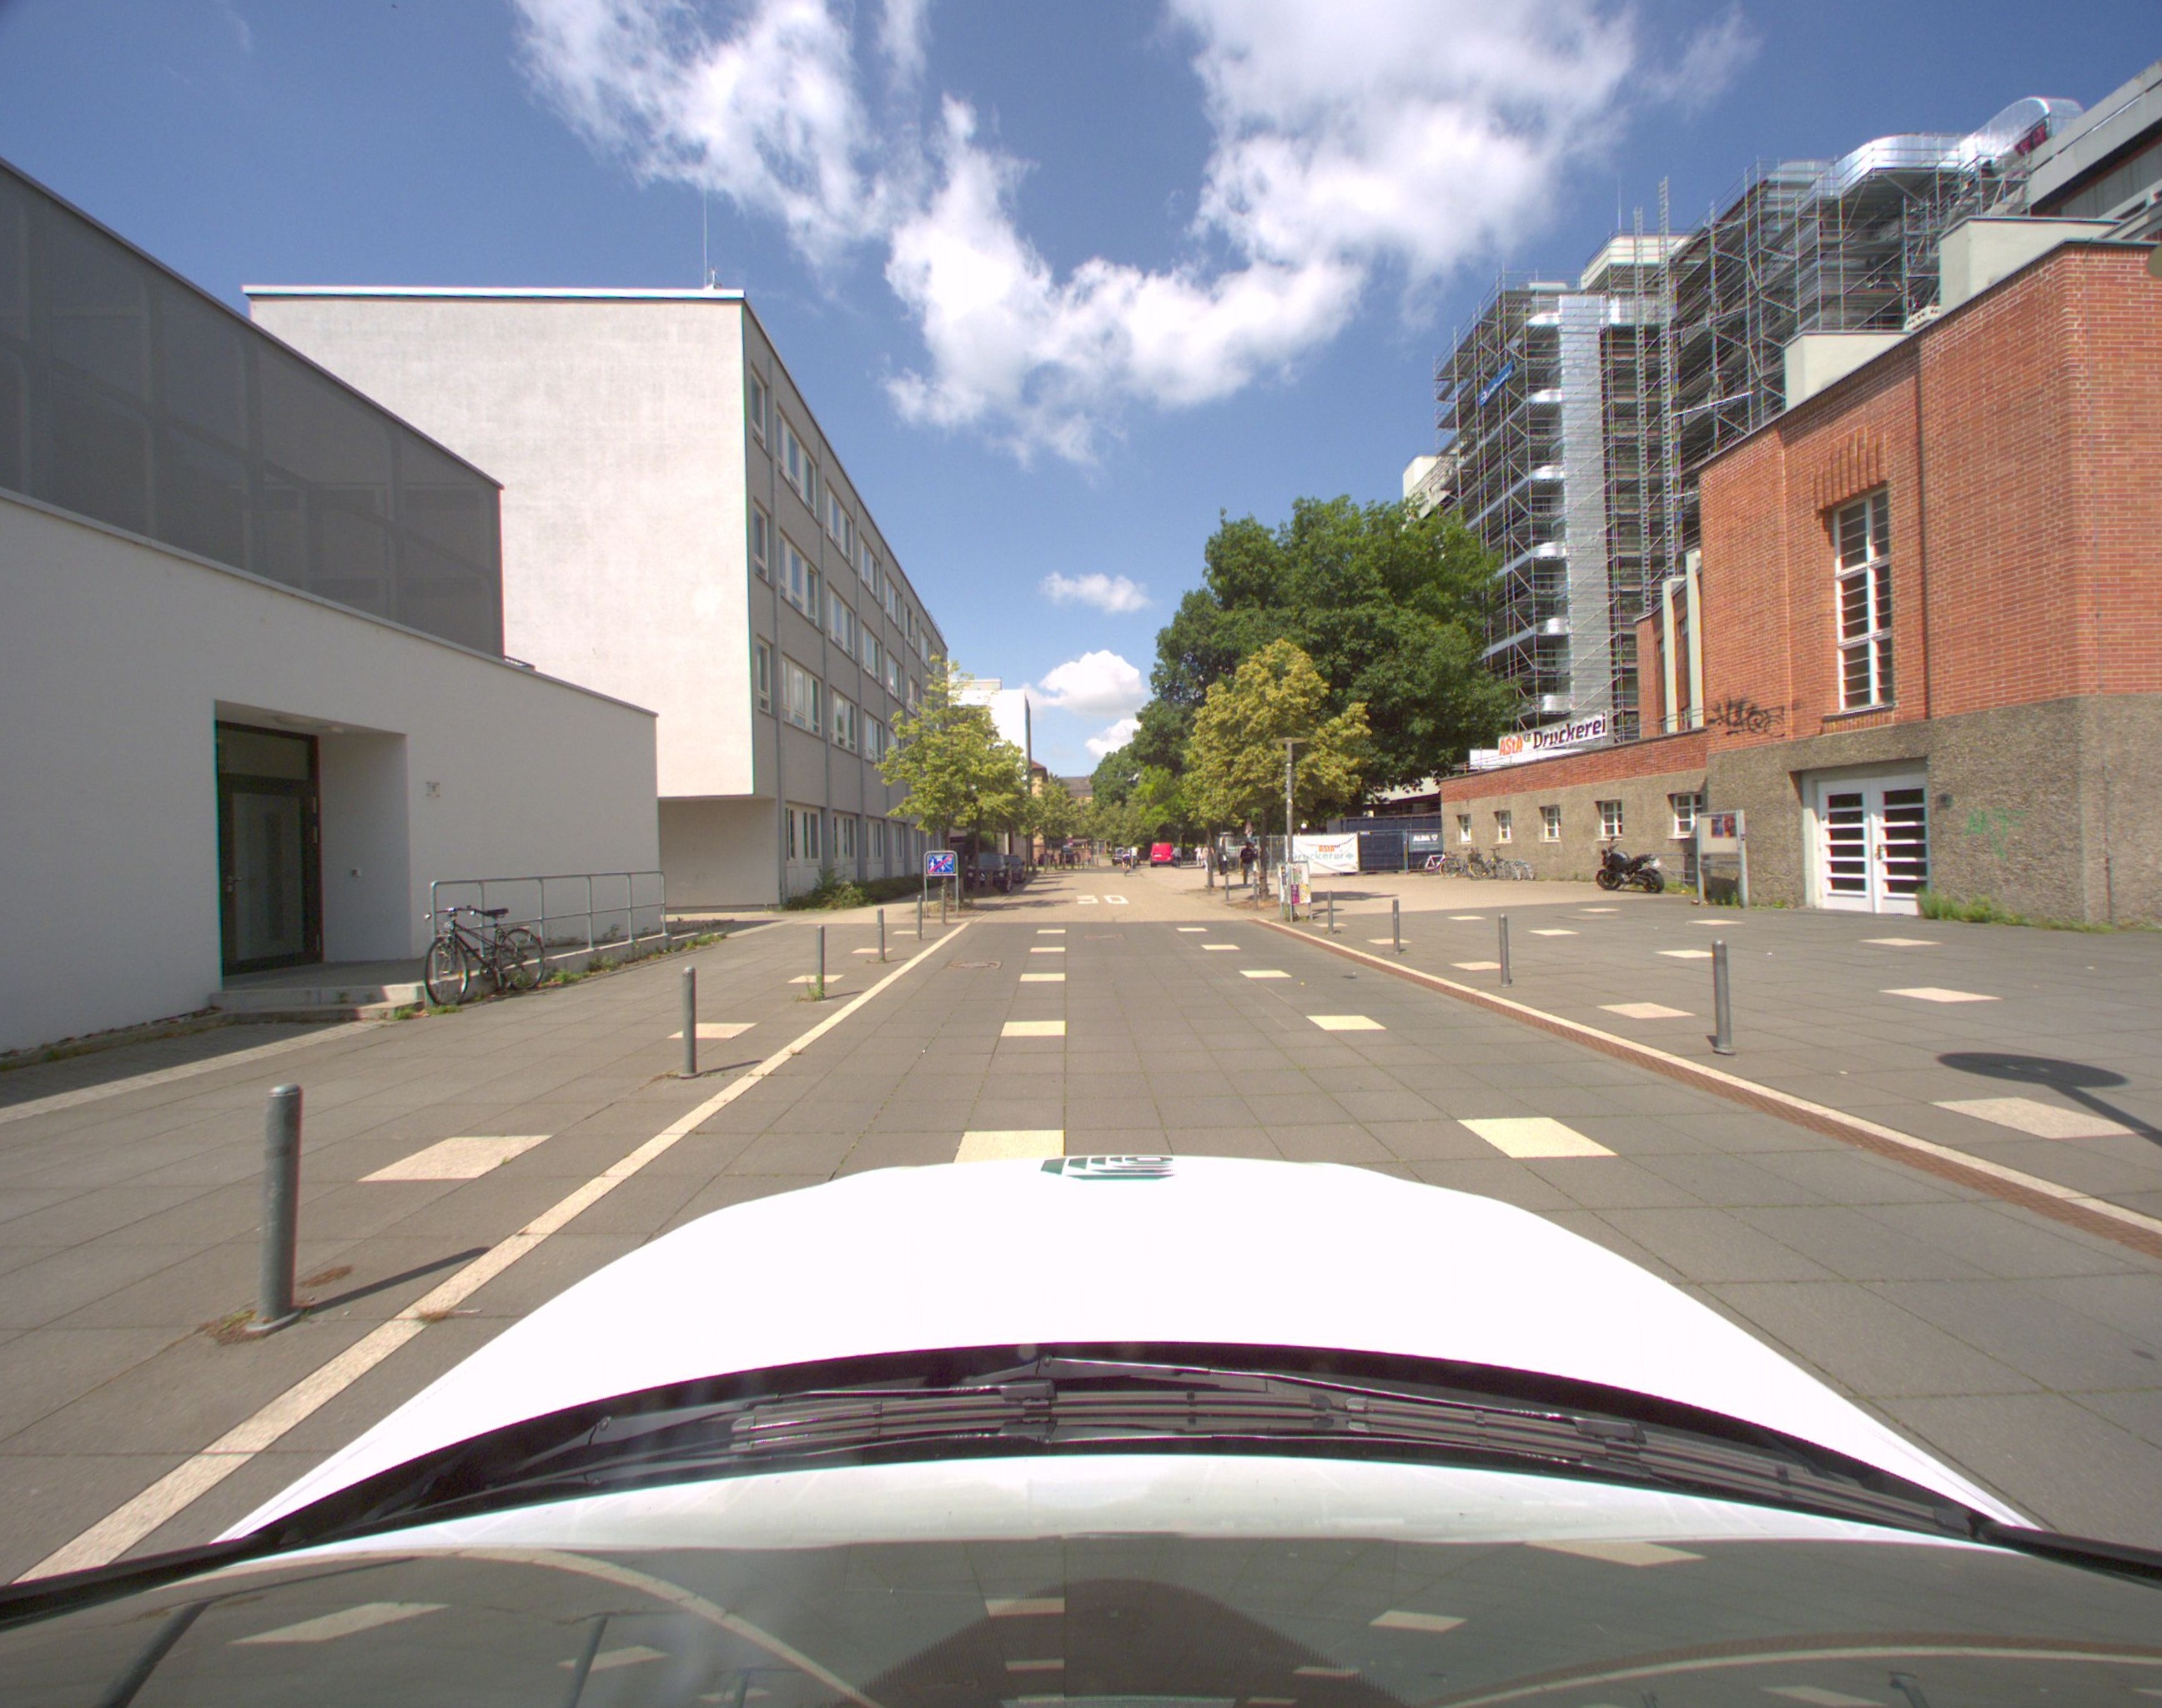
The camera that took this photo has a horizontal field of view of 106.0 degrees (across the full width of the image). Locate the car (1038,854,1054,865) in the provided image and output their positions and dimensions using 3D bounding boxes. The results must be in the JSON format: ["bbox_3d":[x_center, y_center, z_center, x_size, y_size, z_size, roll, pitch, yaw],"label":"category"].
[{"bbox_3d":[-4.208,0.635,97.268,1.813,1.324,3.765,-2,0,-2],"label":"car"}]

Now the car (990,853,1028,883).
[{"bbox_3d":[-3.625,0.663,41.597,1.774,1.461,4.254,0,0,-3],"label":"car"}]

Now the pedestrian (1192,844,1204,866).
[{"bbox_3d":[10.045,0.085,69.959,0.727,1.821,0.623,-1,0,-37],"label":"pedestrian"}]

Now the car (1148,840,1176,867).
[{"bbox_3d":[6.280,-0.045,62.595,1.837,1.891,4.902,-2,0,9],"label":"car"}]

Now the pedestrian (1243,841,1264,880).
[{"bbox_3d":[7.635,0.284,36.072,0.647,1.666,0.904,-2,0,0],"label":"pedestrian"}]

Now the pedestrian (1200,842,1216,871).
[{"bbox_3d":[7.489,0.147,48.076,0.706,1.631,0.716,-2,0,31],"label":"pedestrian"}]

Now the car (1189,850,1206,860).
[{"bbox_3d":[17.399,0.142,121.526,1.602,1.387,4.020,-2,0,20],"label":"car"}]

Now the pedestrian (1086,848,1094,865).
[{"bbox_3d":[0.900,0.240,84.177,0.580,1.764,0.914,-2,0,12],"label":"pedestrian"}]

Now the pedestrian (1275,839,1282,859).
[{"bbox_3d":[18.306,-0.491,75.526,0.540,1.837,0.763,-2,0,5],"label":"pedestrian"}]

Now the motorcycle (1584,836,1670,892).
[{"bbox_3d":[13.758,0.226,20.598,0.693,1.323,2.220,-2,0,1],"label":"motorcycle"}]

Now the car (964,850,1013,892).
[{"bbox_3d":[-3.707,0.652,33.142,1.693,1.564,4.064,-2,0,-3],"label":"car"}]

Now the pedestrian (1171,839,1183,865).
[{"bbox_3d":[6.688,-0.108,56.840,0.689,1.781,0.790,-2,0,14],"label":"pedestrian"}]

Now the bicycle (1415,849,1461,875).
[{"bbox_3d":[14.689,0.321,33.499,1.666,1.003,0.447,-2,0,-1],"label":"bicycle"}]

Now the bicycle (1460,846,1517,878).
[{"bbox_3d":[14.545,0.282,29.082,1.801,1.109,0.447,-2,0,-1],"label":"bicycle"}]

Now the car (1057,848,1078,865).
[{"bbox_3d":[-1.644,0.248,97.381,2.170,1.925,5.180,-2,0,-3],"label":"car"}]

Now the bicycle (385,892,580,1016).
[{"bbox_3d":[-6.258,0.996,8.665,0.541,1.061,1.901,-2,0,4],"label":"bicycle"}]

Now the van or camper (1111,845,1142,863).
[{"bbox_3d":[4.990,0.007,89.323,1.937,1.923,5.446,-1,0,19],"label":"van or camper"}]

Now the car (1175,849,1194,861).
[{"bbox_3d":[14.548,0.136,114.394,1.745,1.522,4.132,-2,0,20],"label":"car"}]

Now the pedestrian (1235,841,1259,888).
[{"bbox_3d":[6.140,0.367,30.167,0.641,1.697,0.790,-2,0,-7],"label":"pedestrian"}]

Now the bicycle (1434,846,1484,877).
[{"bbox_3d":[14.433,0.285,31.137,1.696,1.109,0.447,-2,0,-1],"label":"bicycle"}]

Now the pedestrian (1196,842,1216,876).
[{"bbox_3d":[6.504,0.253,42.451,0.849,1.764,0.714,-2,0,-6],"label":"pedestrian"}]

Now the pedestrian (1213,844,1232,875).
[{"bbox_3d":[7.348,0.293,42.329,0.669,1.600,0.981,-2,0,-11],"label":"pedestrian"}]

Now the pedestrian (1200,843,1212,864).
[{"bbox_3d":[10.590,-0.021,68.915,0.749,1.710,0.558,-1,0,-37],"label":"pedestrian"}]
